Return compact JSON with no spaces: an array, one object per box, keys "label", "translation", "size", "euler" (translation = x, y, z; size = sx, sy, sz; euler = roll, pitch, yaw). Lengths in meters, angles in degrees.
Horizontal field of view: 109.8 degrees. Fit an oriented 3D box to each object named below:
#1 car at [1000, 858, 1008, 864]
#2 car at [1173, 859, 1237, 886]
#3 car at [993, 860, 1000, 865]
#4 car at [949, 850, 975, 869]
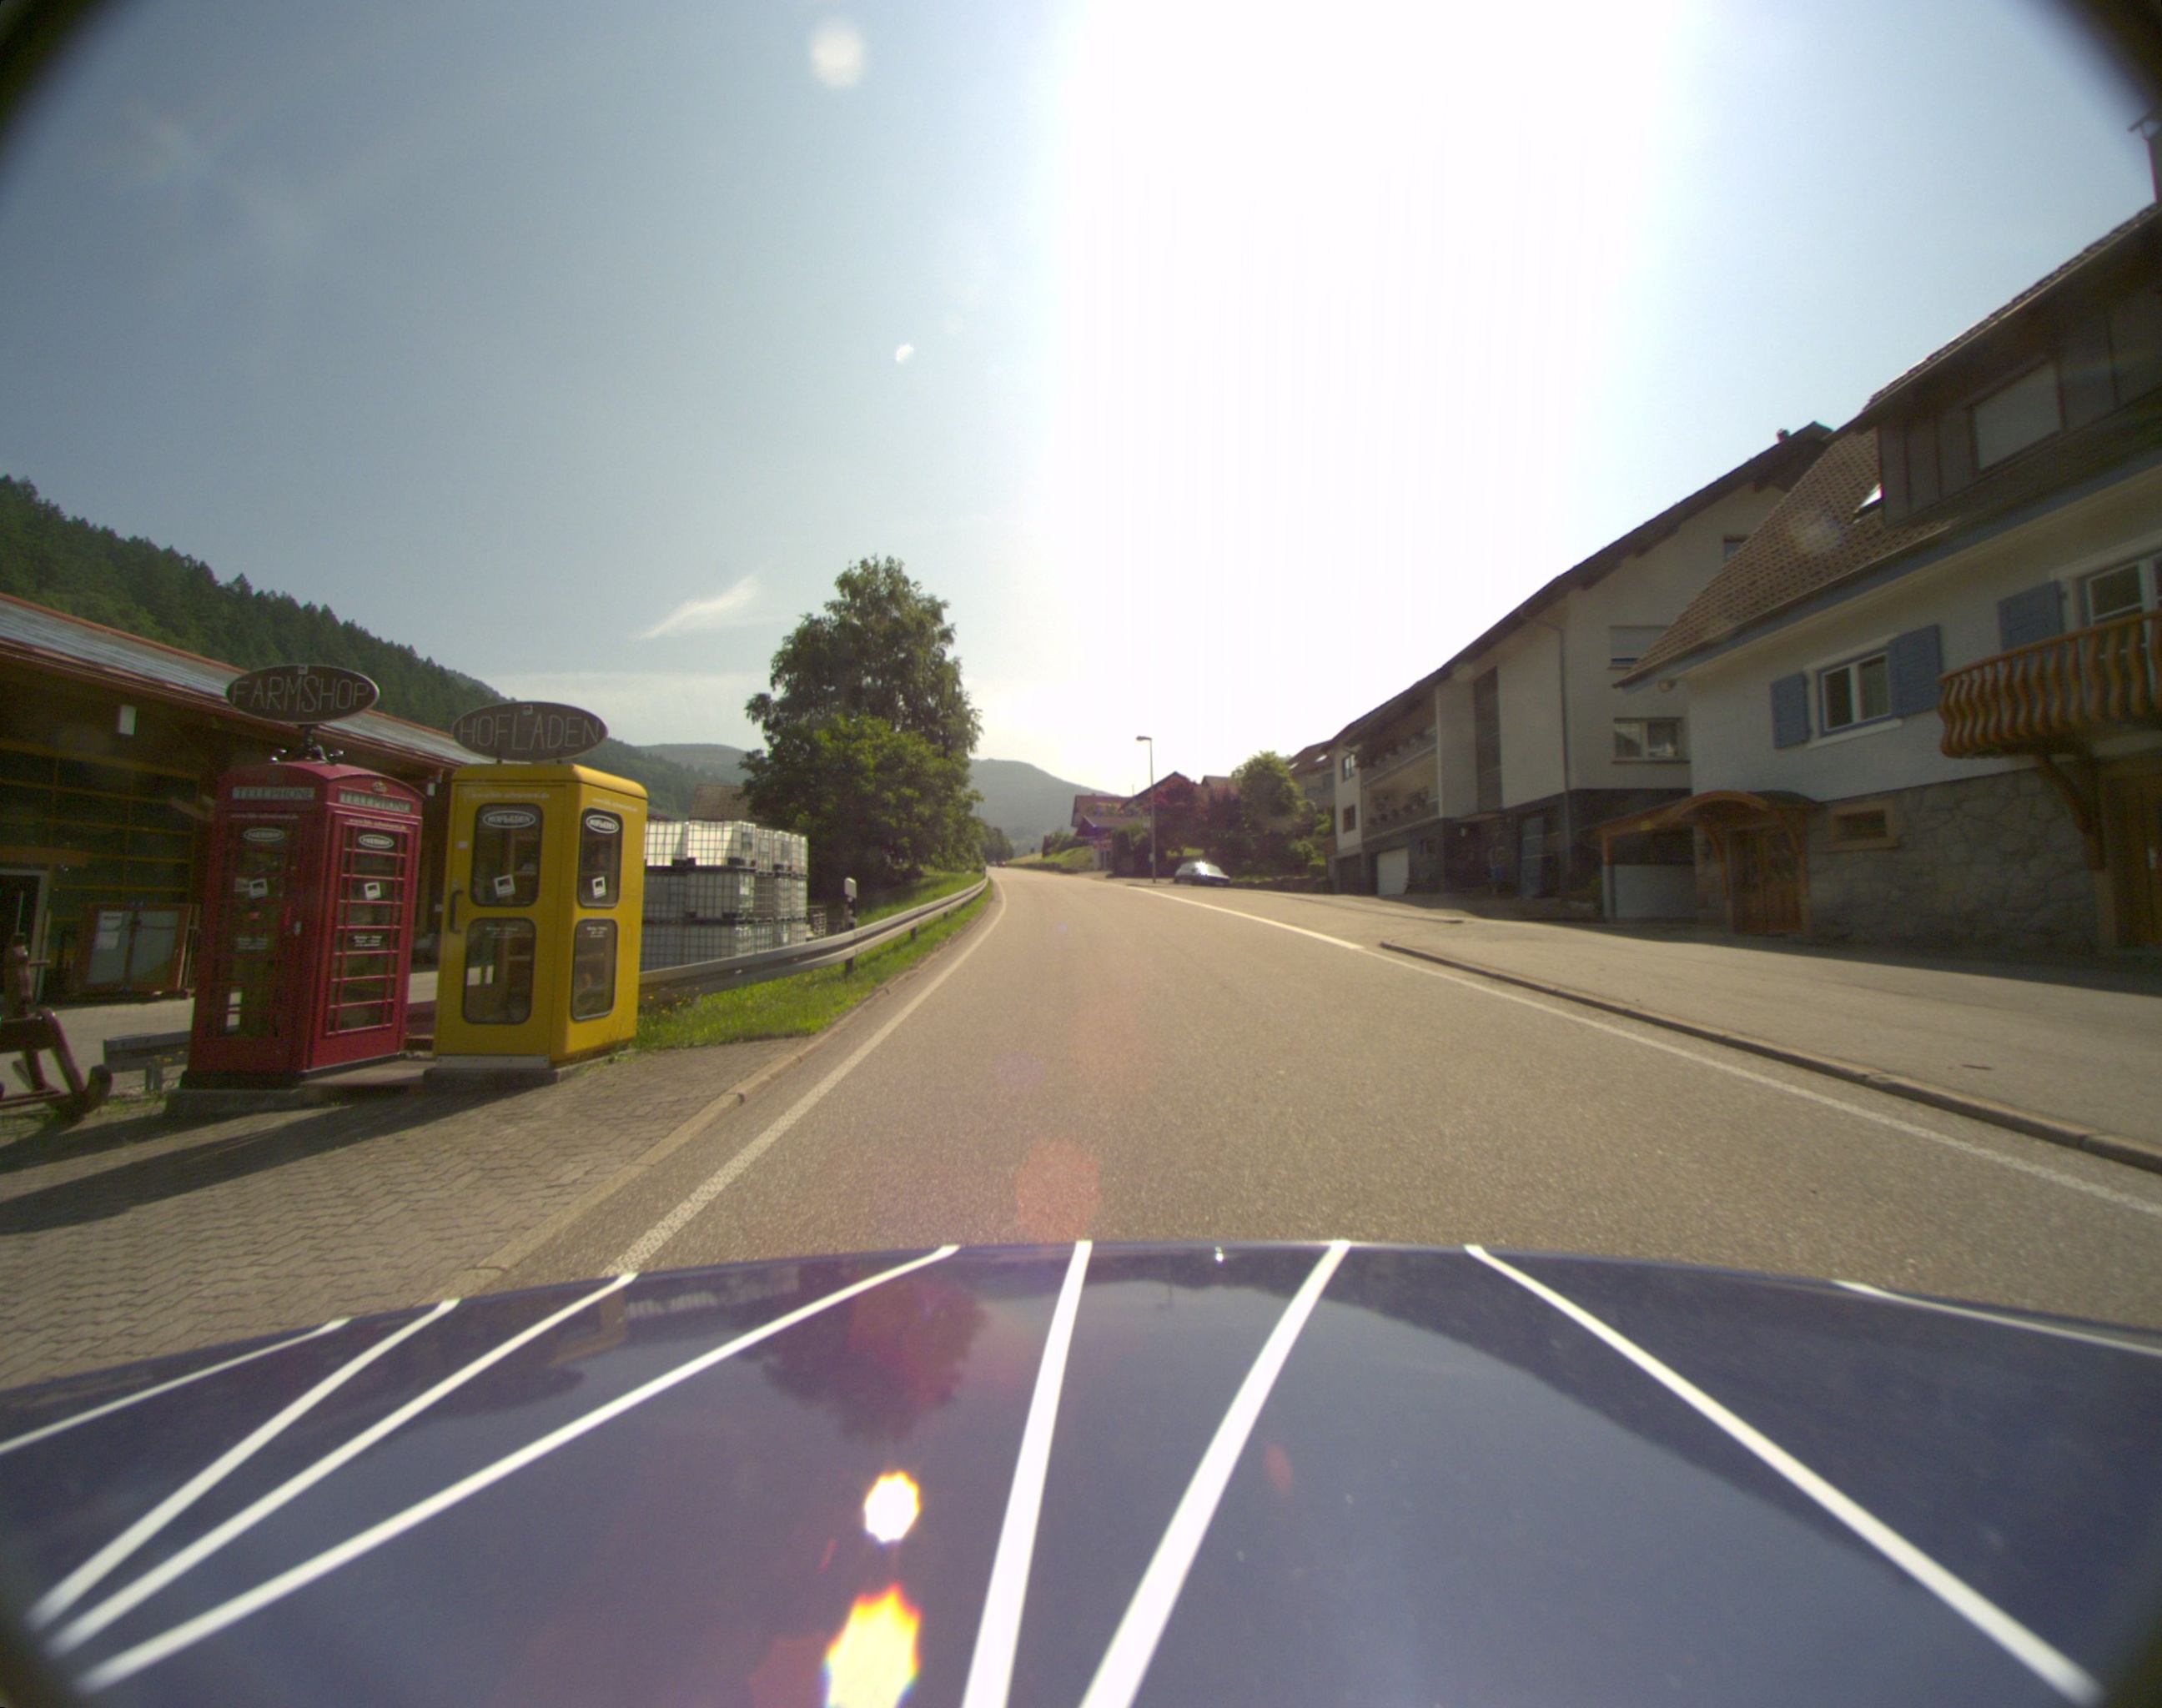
[{"label":"car","translation":[-19.482,1.828,191.326],"size":[1.817,1.500,4.259],"euler":[-1,0,-9]},{"label":"car","translation":[6.435,0.941,40.031],"size":[1.788,1.331,4.691],"euler":[0,0,-12]},{"label":"car","translation":[-26.091,2.505,234.455],"size":[1.817,1.500,4.259],"euler":[-1,0,-10]},{"label":"car","translation":[-11.928,0.550,76.403],"size":[1.813,1.802,4.663],"euler":[1,0,0]}]
